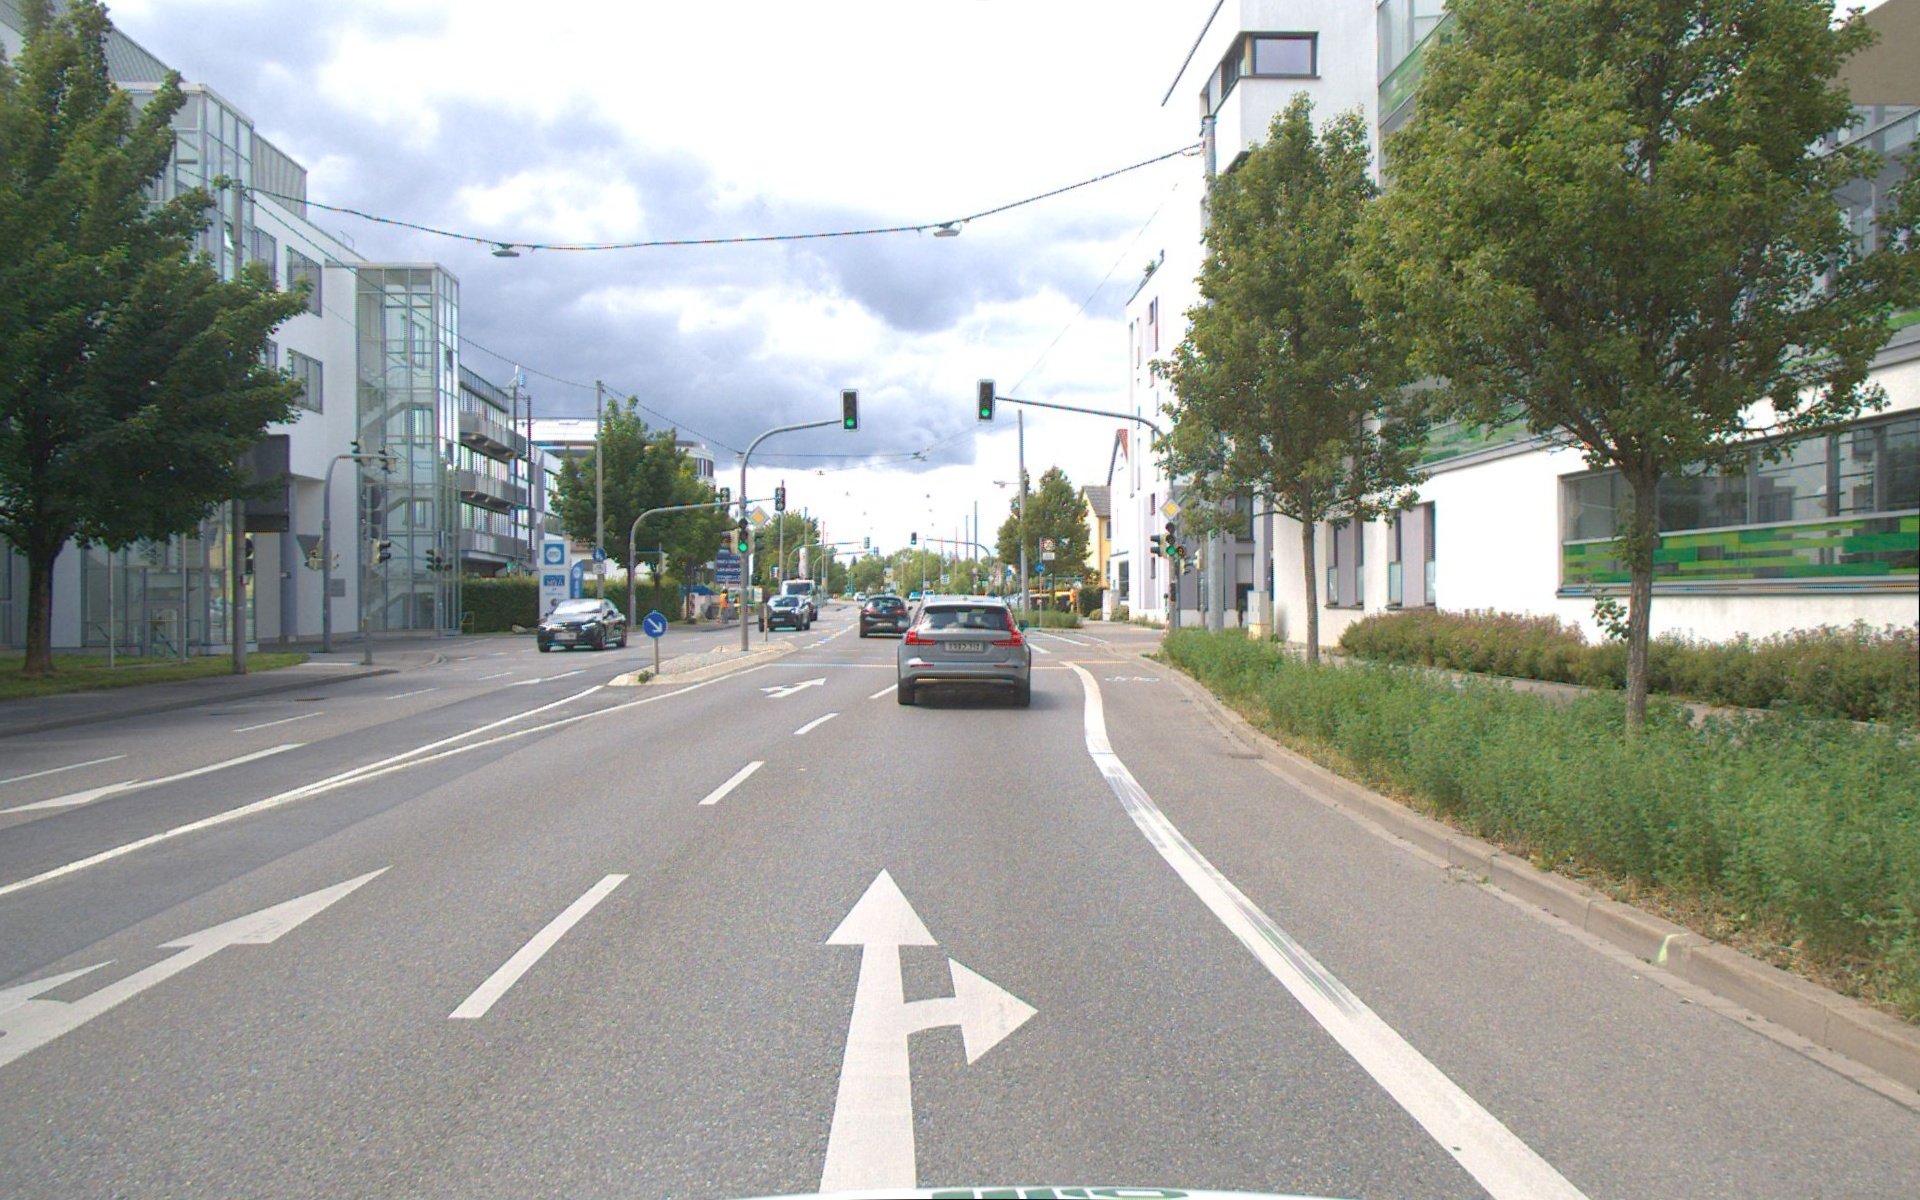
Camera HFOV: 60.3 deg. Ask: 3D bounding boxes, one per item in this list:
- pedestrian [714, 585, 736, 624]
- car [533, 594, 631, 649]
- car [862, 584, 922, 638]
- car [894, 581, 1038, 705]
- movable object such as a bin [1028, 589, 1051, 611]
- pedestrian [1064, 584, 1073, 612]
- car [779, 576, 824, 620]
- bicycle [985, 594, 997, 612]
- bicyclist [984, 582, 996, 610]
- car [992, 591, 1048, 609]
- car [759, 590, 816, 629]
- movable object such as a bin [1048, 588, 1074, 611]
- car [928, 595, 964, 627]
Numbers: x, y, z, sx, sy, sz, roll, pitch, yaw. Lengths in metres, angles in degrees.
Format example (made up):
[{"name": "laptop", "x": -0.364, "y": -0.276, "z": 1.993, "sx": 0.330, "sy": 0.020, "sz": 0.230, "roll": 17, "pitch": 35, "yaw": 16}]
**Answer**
[{"name": "pedestrian", "x": -12.558, "y": 0.221, "z": 88.394, "sx": 0.713, "sy": 2.049, "sz": 0.806, "roll": 1, "pitch": -1, "yaw": 41}, {"name": "car", "x": -11.247, "y": 0.632, "z": 49.487, "sx": 1.984, "sy": 1.470, "sz": 5.046, "roll": -2, "pitch": 0, "yaw": -3}, {"name": "car", "x": -2.390, "y": 0.391, "z": 57.109, "sx": 1.954, "sy": 1.747, "sz": 3.997, "roll": 1, "pitch": -1, "yaw": -4}, {"name": "car", "x": 0.074, "y": 0.589, "z": 23.721, "sx": 1.857, "sy": 1.581, "sz": 3.999, "roll": 1, "pitch": -1, "yaw": 0}, {"name": "movable object such as a bin", "x": 5.243, "y": 0.022, "z": 108.745, "sx": 1.291, "sy": 1.385, "sz": 1.252, "roll": -1, "pitch": -1, "yaw": 15}, {"name": "pedestrian", "x": 7.037, "y": -0.117, "z": 107.167, "sx": 0.496, "sy": 1.796, "sz": 0.501, "roll": 1, "pitch": -1, "yaw": 15}, {"name": "car", "x": -9.578, "y": -0.124, "z": 100.088, "sx": 2.099, "sy": 2.515, "sz": 6.072, "roll": -2, "pitch": 0, "yaw": -1}, {"name": "bicycle", "x": 1.910, "y": 0.192, "z": 102.677, "sx": 0.625, "sy": 1.081, "sz": 1.977, "roll": -4, "pitch": 0, "yaw": -1}, {"name": "bicyclist", "x": 1.875, "y": -0.262, "z": 102.778, "sx": 0.625, "sy": 1.704, "sz": 0.890, "roll": -4, "pitch": 0, "yaw": -1}, {"name": "car", "x": 4.987, "y": -0.006, "z": 137.794, "sx": 4.602, "sy": 1.519, "sz": 2.045, "roll": 0, "pitch": 1, "yaw": -2}, {"name": "car", "x": -7.329, "y": 0.417, "z": 70.751, "sx": 1.846, "sy": 1.579, "sz": 4.540, "roll": -2, "pitch": -1, "yaw": 1}, {"name": "movable object such as a bin", "x": 6.650, "y": -0.036, "z": 108.968, "sx": 1.297, "sy": 1.460, "sz": 1.247, "roll": -1, "pitch": -2, "yaw": 36}, {"name": "car", "x": -0.818, "y": 0.639, "z": 94.361, "sx": 1.953, "sy": 1.724, "sz": 3.998, "roll": 1, "pitch": -1, "yaw": -2}]
